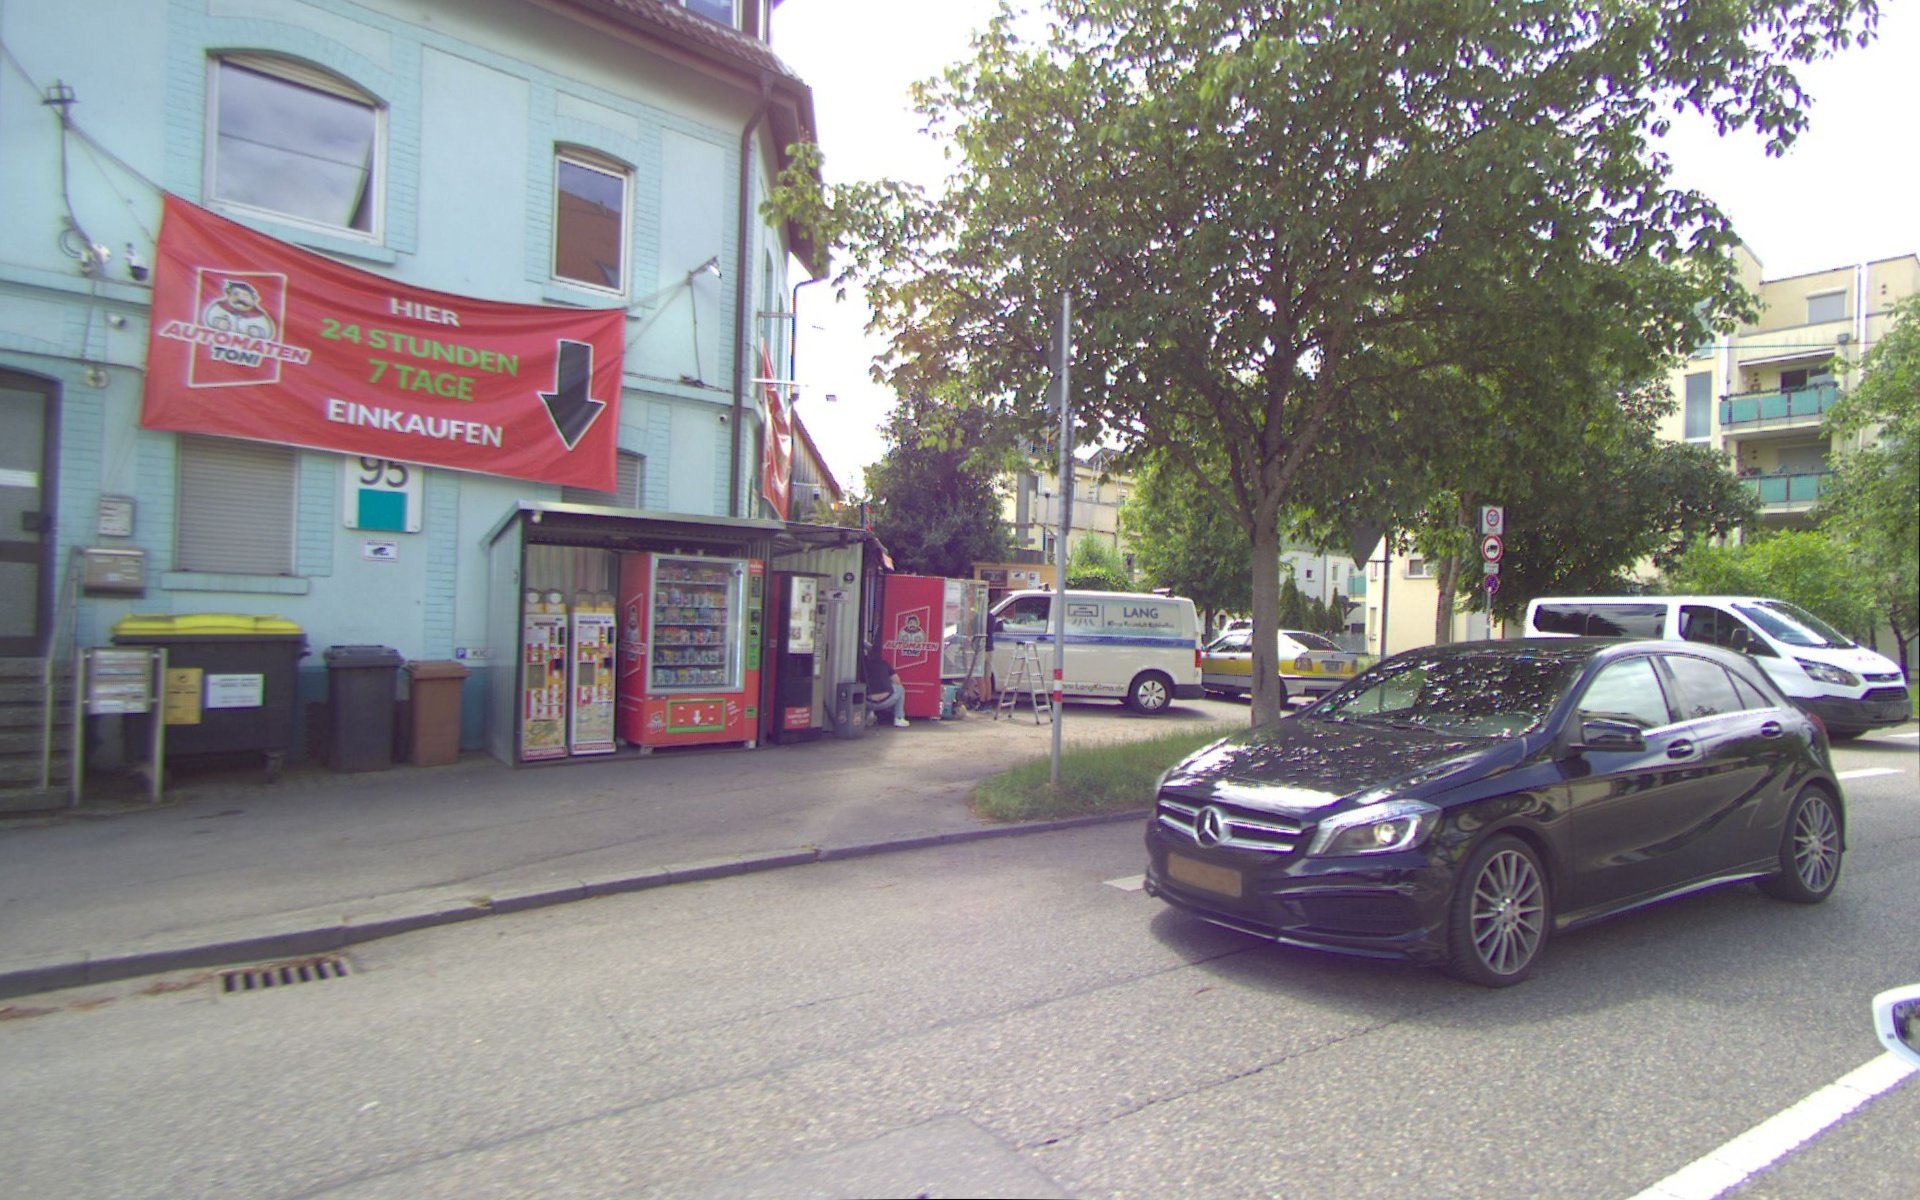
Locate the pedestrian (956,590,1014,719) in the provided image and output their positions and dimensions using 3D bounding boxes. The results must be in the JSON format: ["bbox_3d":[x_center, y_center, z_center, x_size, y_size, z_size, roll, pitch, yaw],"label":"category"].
[{"bbox_3d":[0.386,0.821,15.402,0.616,1.921,0.562,2,0,41],"label":"pedestrian"}]

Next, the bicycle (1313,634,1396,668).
[{"bbox_3d":[11.463,1.474,29.232,2.185,0.871,0.463,2,0,29],"label":"bicycle"}]

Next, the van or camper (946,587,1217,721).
[{"bbox_3d":[1.950,0.890,17.007,4.294,2.020,1.790,2,-1,-2],"label":"van or camper"}]

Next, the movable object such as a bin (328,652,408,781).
[{"bbox_3d":[-5.173,0.997,8.777,0.513,1.054,0.429,2,0,-39],"label":"movable object such as a bin"}]

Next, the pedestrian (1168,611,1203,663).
[{"bbox_3d":[7.456,1.212,33.221,0.802,1.616,0.731,-4,2,-24],"label":"pedestrian"}]

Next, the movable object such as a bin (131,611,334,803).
[{"bbox_3d":[-5.897,0.808,8.157,1.237,1.373,1.011,2,0,-39],"label":"movable object such as a bin"}]

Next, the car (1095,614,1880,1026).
[{"bbox_3d":[2.929,0.892,5.432,4.173,1.501,1.681,1,-4,-28],"label":"car"}]

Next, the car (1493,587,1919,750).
[{"bbox_3d":[11.086,0.949,15.253,2.077,2.020,5.205,0,-2,-21],"label":"car"}]

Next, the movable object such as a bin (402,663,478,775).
[{"bbox_3d":[-4.734,1.068,9.147,0.513,0.945,0.442,2,0,-39],"label":"movable object such as a bin"}]

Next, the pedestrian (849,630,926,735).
[{"bbox_3d":[-0.941,1.058,13.078,0.734,1.289,0.617,2,0,-43],"label":"pedestrian"}]

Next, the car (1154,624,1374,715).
[{"bbox_3d":[5.667,1.263,19.239,1.791,1.432,4.004,2,-1,-25],"label":"car"}]
